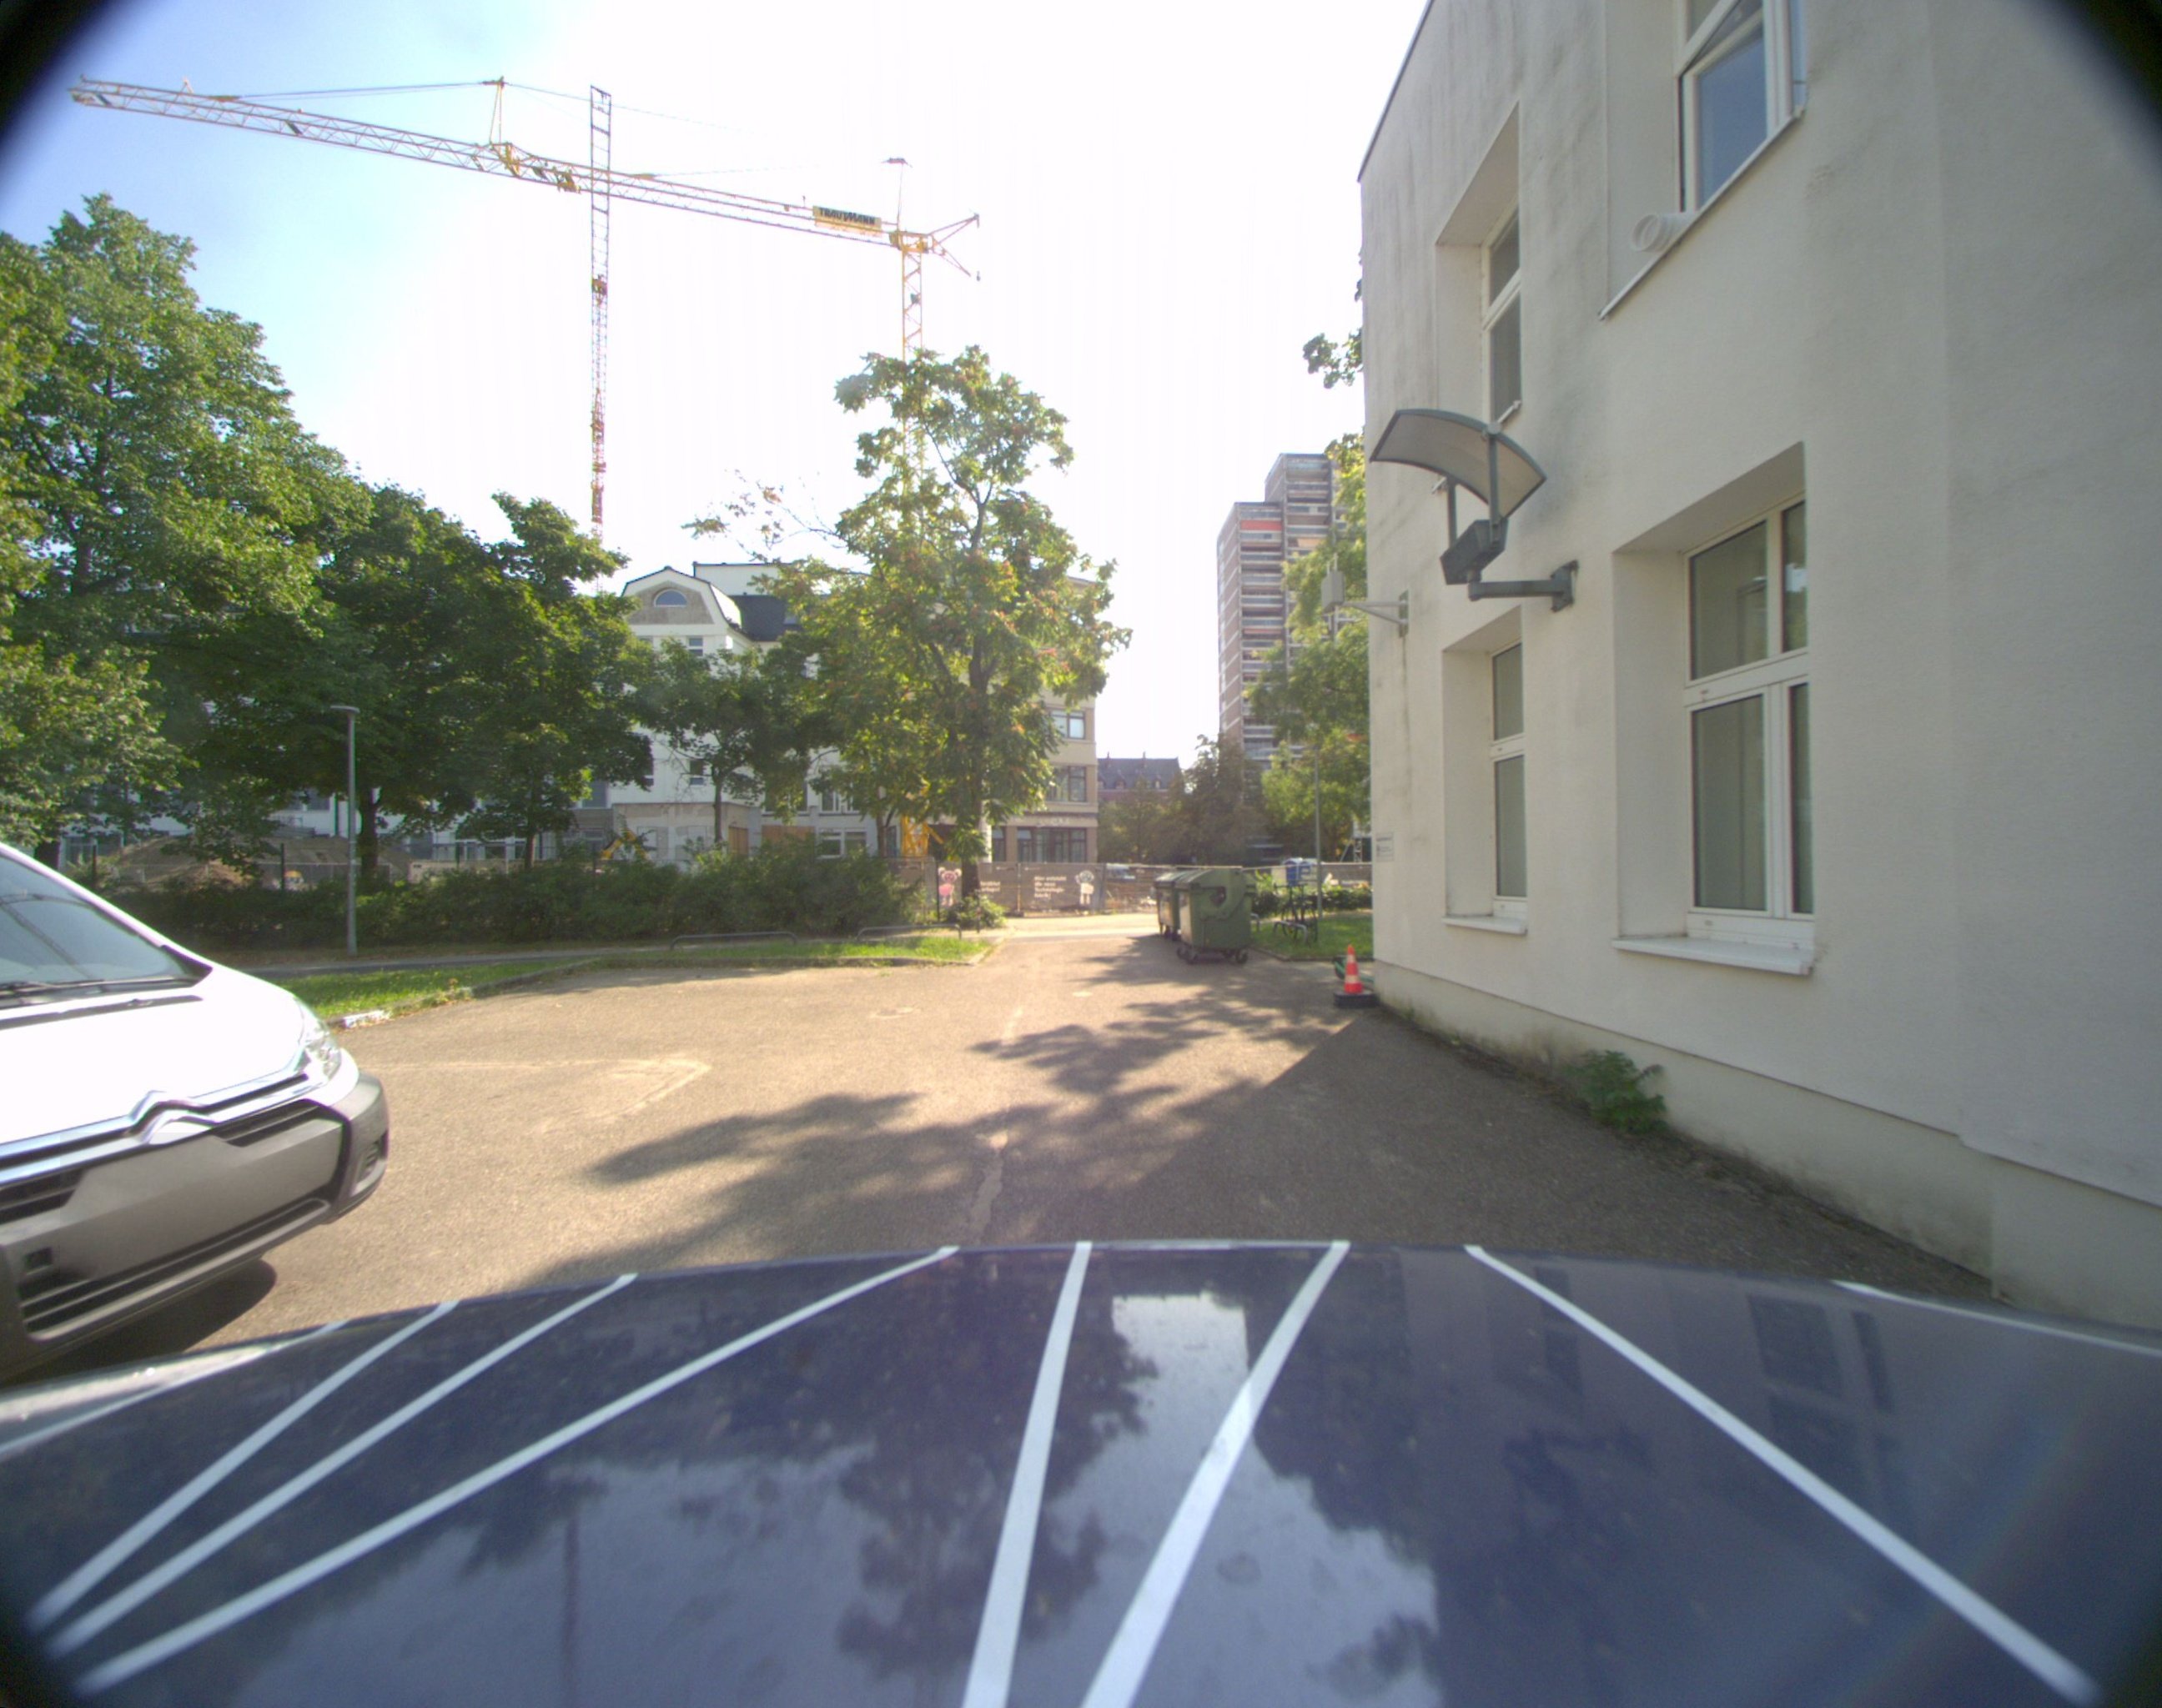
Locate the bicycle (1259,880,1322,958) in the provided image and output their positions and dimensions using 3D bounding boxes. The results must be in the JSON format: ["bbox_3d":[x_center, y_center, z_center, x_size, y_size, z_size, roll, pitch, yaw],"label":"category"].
[{"bbox_3d":[3.646,1.091,13.346,0.477,1.206,2.008,1,0,-2],"label":"bicycle"}]

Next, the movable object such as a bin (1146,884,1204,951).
[{"bbox_3d":[2.191,1.460,17.813,1.037,1.489,1.106,1,0,-12],"label":"movable object such as a bin"}]

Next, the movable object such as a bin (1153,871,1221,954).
[{"bbox_3d":[2.261,1.229,16.416,1.184,1.695,1.377,1,0,-4],"label":"movable object such as a bin"}]

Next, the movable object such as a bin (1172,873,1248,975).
[{"bbox_3d":[2.271,1.205,13.610,1.183,1.695,1.395,1,0,3],"label":"movable object such as a bin"}]

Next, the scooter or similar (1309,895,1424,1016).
[{"bbox_3d":[3.363,1.150,9.076,0.386,1.255,1.493,1,0,-20],"label":"scooter or similar"}]

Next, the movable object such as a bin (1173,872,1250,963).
[{"bbox_3d":[2.540,1.220,15.021,1.184,1.695,1.377,1,0,-4],"label":"movable object such as a bin"}]

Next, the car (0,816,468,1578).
[{"bbox_3d":[-5.177,0.858,2.337,4.969,1.909,2.044,0,0,1],"label":"car"}]

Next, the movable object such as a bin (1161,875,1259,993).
[{"bbox_3d":[1.969,1.187,11.806,1.184,1.695,1.377,1,0,-4],"label":"movable object such as a bin"}]
